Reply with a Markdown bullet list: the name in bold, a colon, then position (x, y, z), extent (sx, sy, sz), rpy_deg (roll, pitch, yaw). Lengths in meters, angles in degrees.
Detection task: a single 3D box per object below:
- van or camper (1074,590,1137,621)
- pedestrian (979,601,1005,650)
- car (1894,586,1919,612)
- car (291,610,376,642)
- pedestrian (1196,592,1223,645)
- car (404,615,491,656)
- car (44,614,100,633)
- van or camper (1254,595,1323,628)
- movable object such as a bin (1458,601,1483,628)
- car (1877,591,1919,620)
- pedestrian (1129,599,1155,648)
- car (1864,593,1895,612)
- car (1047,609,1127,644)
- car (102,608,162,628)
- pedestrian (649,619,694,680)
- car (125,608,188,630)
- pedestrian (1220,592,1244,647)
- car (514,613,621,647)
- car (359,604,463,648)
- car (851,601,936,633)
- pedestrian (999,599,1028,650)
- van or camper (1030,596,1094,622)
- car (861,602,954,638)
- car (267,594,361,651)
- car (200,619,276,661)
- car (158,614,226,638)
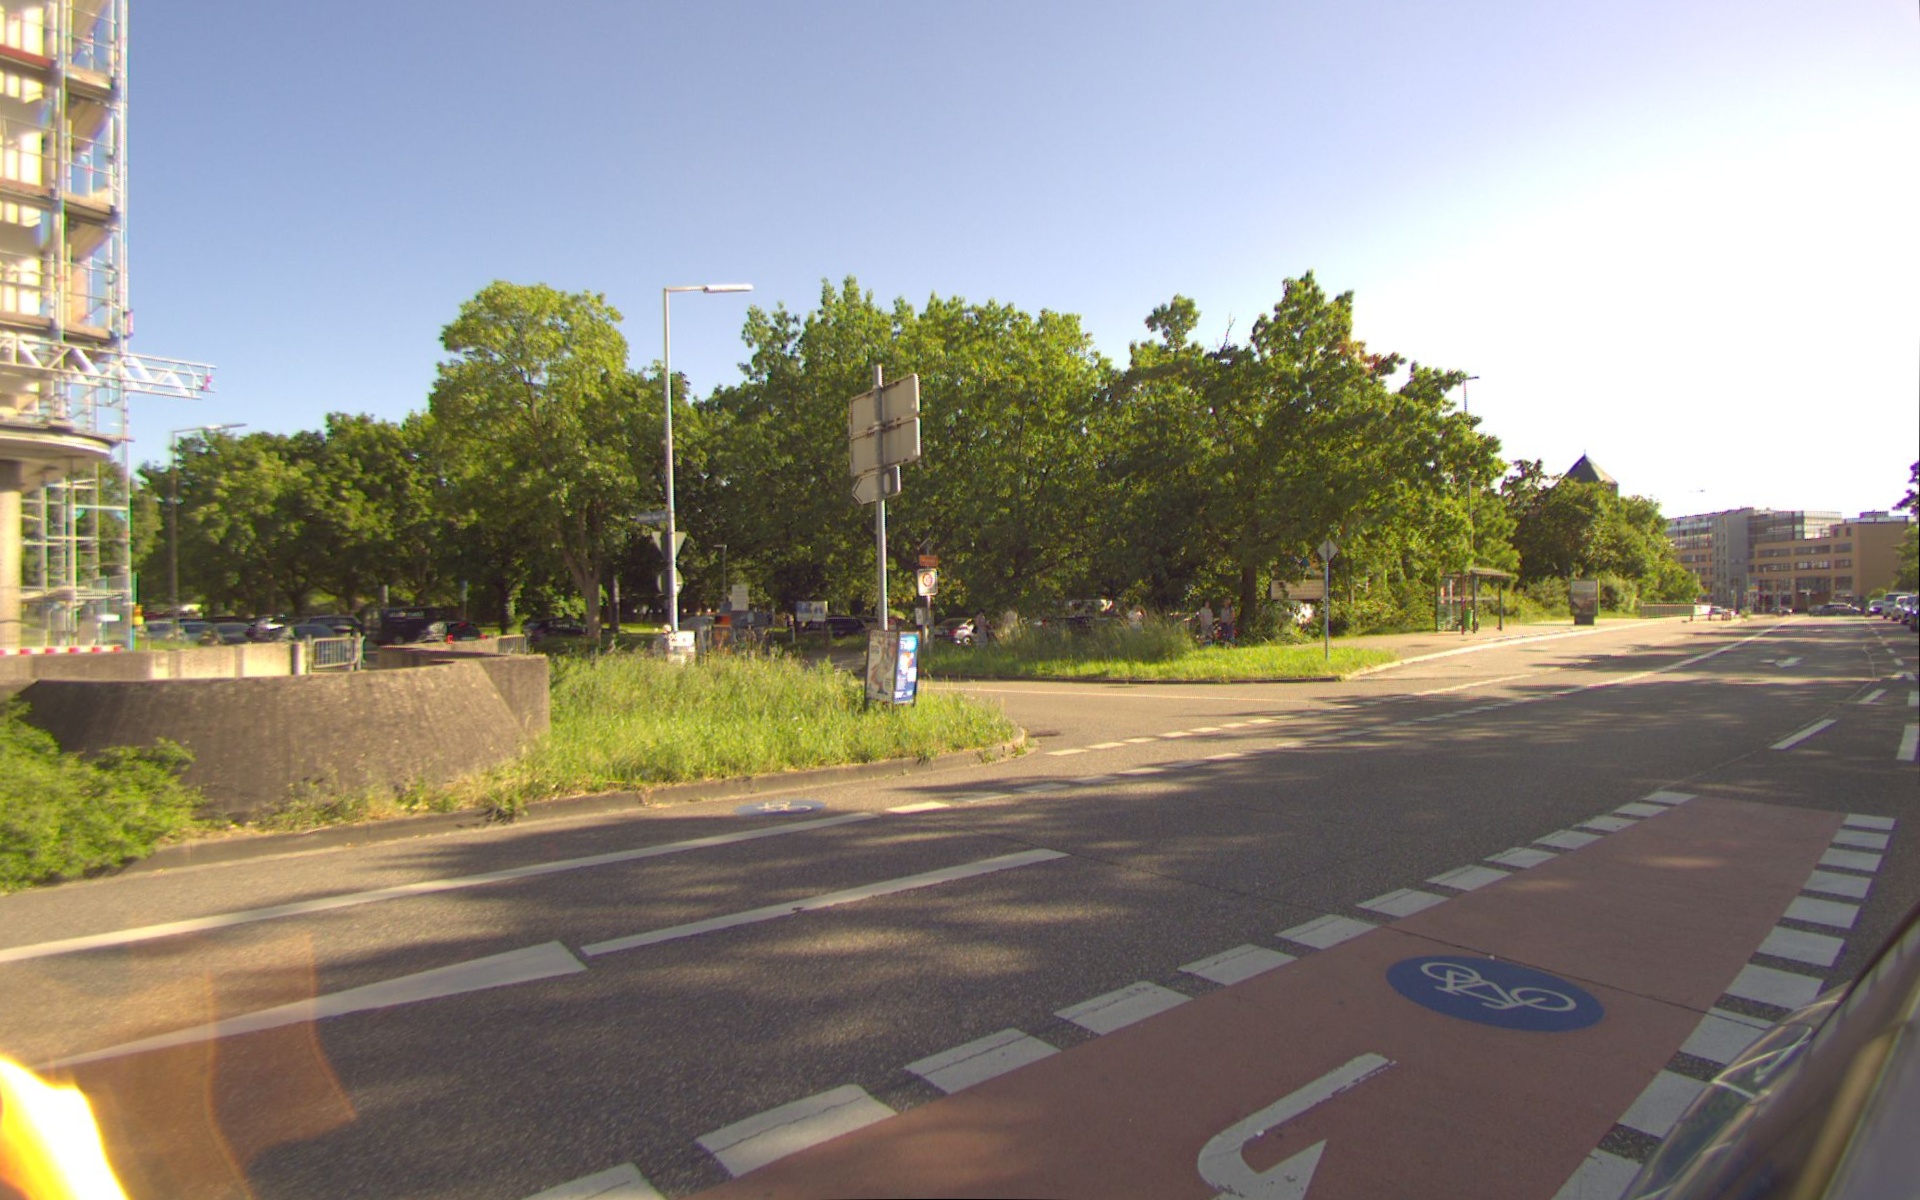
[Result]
- **van or camper**: position (10.785, 0.394, 74.960), extent (2.443, 2.186, 5.258), rpy_deg (-1, -1, 36)
- **pedestrian**: position (1.072, 0.855, 34.210), extent (0.595, 1.640, 0.559), rpy_deg (-3, -1, 37)
- **car**: position (66.617, -0.041, 70.635), extent (3.931, 1.569, 1.741), rpy_deg (4, -5, -43)
- **car**: position (-37.410, 1.542, 60.473), extent (1.992, 1.677, 3.939), rpy_deg (-3, -1, 43)
- **pedestrian**: position (7.986, 0.584, 32.411), extent (0.621, 1.655, 0.543), rpy_deg (-2, -1, 43)
- **car**: position (-19.964, 1.361, 39.358), extent (3.541, 1.522, 1.657), rpy_deg (-1, -1, 37)
- **car**: position (-88.320, 2.294, 100.639), extent (1.990, 1.677, 3.944), rpy_deg (-3, -1, 39)
- **van or camper**: position (20.338, 0.664, 62.523), extent (2.445, 1.937, 5.255), rpy_deg (-1, -1, 38)
- **movable object such as a bin**: position (19.662, 0.565, 38.970), extent (0.726, 1.043, 0.569), rpy_deg (-1, -1, 42)
- **car**: position (48.638, 0.258, 52.201), extent (1.778, 1.423, 3.935), rpy_deg (-2, -1, 45)
- **pedestrian**: position (5.839, 0.741, 32.445), extent (0.527, 1.538, 0.603), rpy_deg (-2, -1, 45)
- **car**: position (77.389, 0.203, 85.158), extent (1.824, 1.492, 3.937), rpy_deg (-2, -1, 44)
- **car**: position (6.804, 1.461, 53.917), extent (1.752, 1.773, 4.700), rpy_deg (-4, -4, 44)
- **car**: position (-76.630, 1.675, 93.678), extent (1.990, 1.677, 3.944), rpy_deg (-3, -1, 39)
- **pedestrian**: position (-7.463, 1.266, 26.206), extent (0.647, 1.516, 0.898), rpy_deg (-2, -1, 34)
- **car**: position (-68.944, 1.629, 86.857), extent (1.990, 1.677, 3.944), rpy_deg (-3, -1, 39)
- **pedestrian**: position (8.710, 0.615, 32.352), extent (0.602, 1.722, 0.404), rpy_deg (-2, -1, 42)
- **car**: position (-17.273, 1.313, 44.621), extent (3.930, 1.314, 1.997), rpy_deg (-2, -1, -40)
- **car**: position (-28.026, 1.290, 51.707), extent (1.994, 2.099, 4.282), rpy_deg (-2, -1, 45)
- **car**: position (-3.024, 0.779, 45.654), extent (3.630, 1.290, 1.602), rpy_deg (-1, 1, 37)
- **pedestrian**: position (1.778, 0.818, 33.666), extent (0.701, 1.640, 0.559), rpy_deg (-3, -1, 37)
- **van or camper**: position (7.820, 0.660, 77.240), extent (2.445, 1.937, 5.255), rpy_deg (-1, -1, 38)
- **car**: position (-2.169, 0.832, 41.442), extent (3.567, 1.331, 1.602), rpy_deg (-1, 1, 37)
- **car**: position (-24.758, 0.842, 38.725), extent (3.981, 2.039, 1.971), rpy_deg (-1, -1, 41)
- **car**: position (-32.064, 1.782, 44.916), extent (3.984, 1.683, 1.970), rpy_deg (-3, -1, 42)
- **car**: position (-61.132, 2.069, 80.596), extent (1.990, 1.677, 3.944), rpy_deg (-3, -1, 39)
